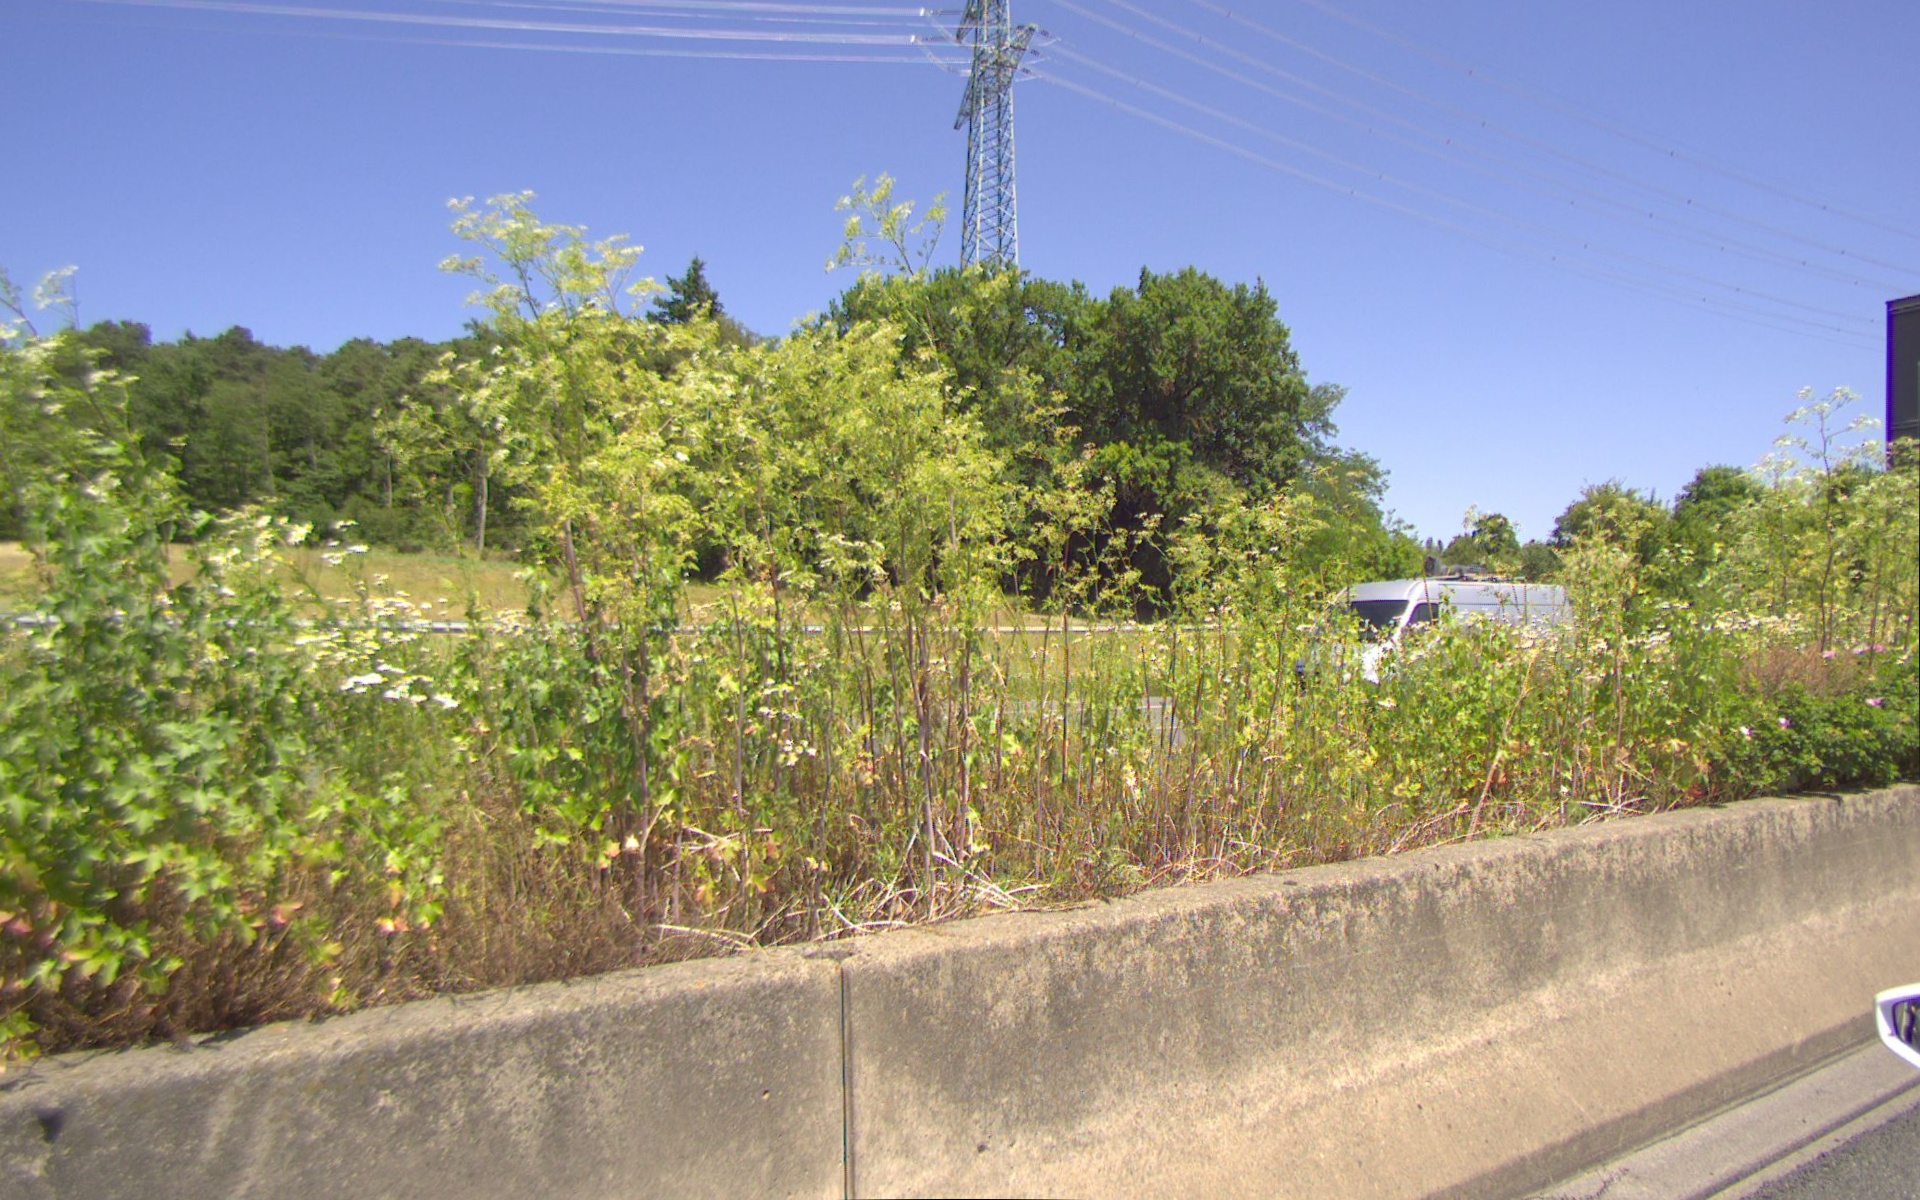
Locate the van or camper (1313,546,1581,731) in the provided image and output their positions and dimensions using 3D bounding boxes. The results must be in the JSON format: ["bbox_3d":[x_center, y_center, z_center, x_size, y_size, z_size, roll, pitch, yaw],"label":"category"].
[{"bbox_3d":[8.666,0.672,17.786,4.594,2.898,2.039,2,-1,-30],"label":"van or camper"}]
